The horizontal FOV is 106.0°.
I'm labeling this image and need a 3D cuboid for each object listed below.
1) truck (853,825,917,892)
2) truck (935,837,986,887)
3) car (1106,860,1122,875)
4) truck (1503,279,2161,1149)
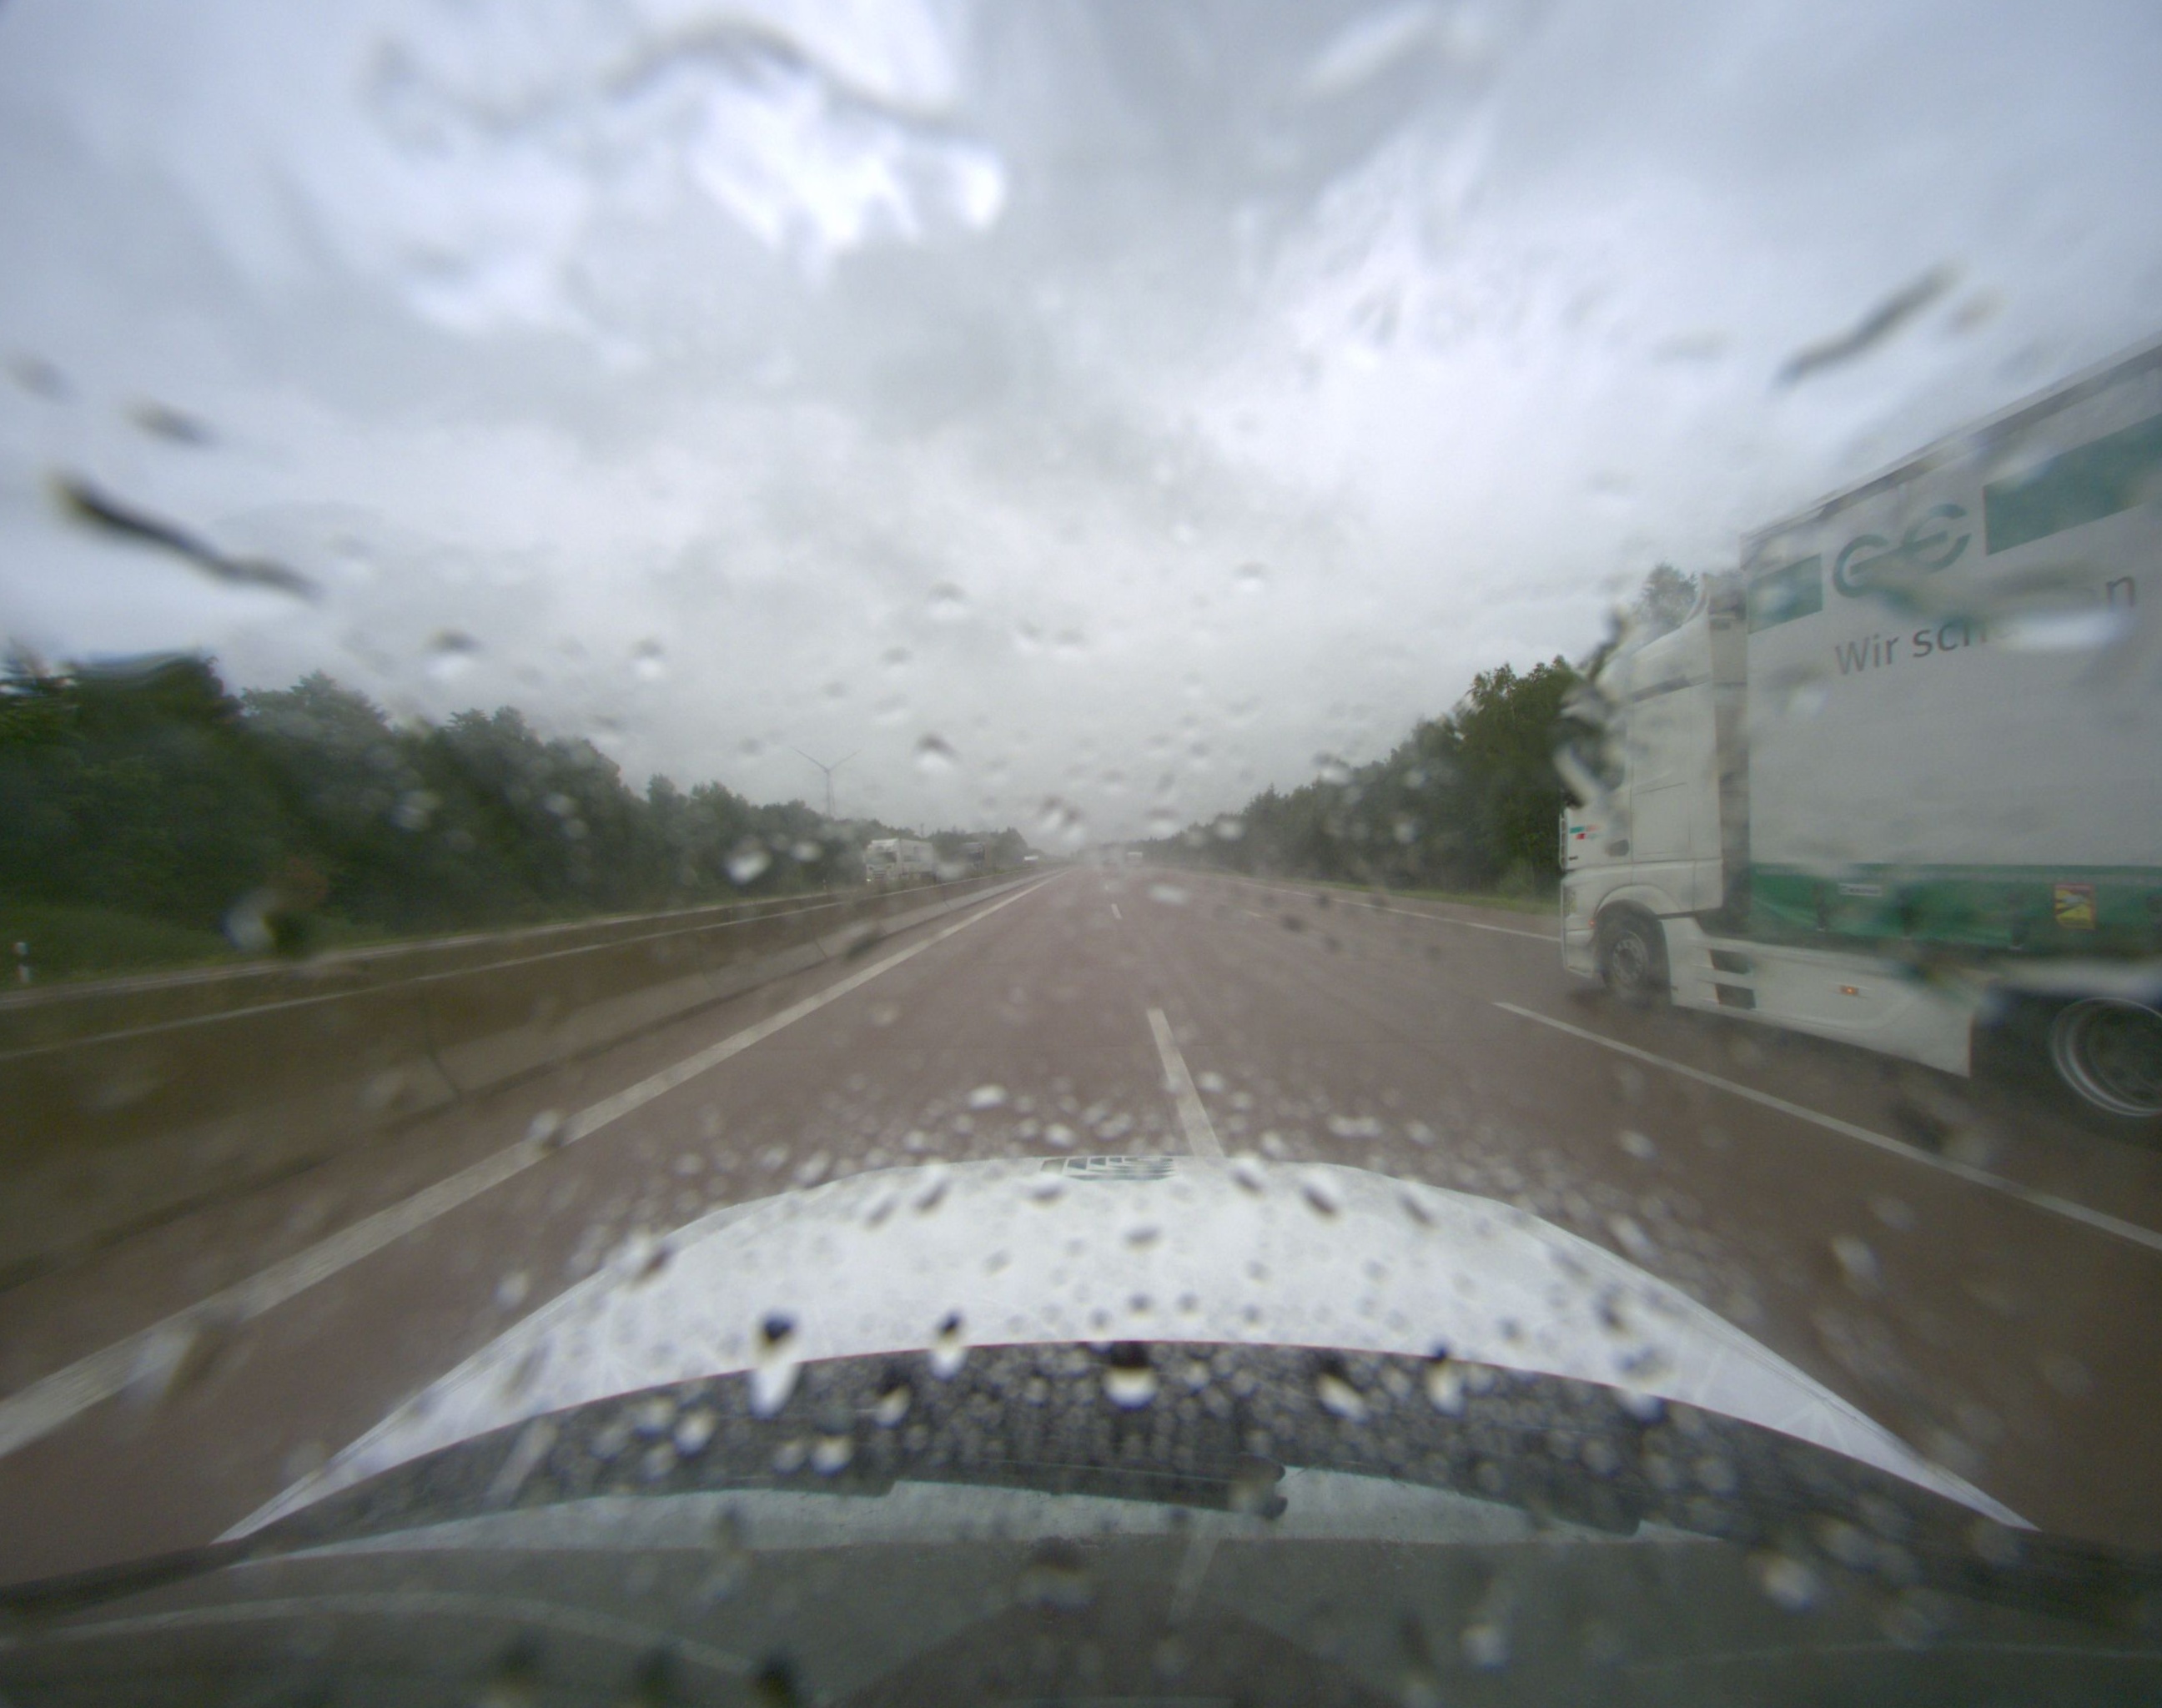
[{"bbox_3d":[-16.703,0.415,70.122,3.408,5.379,8.158,-1,-1,1],"label":"truck"},{"bbox_3d":[-12.594,0.816,86.163,3.912,5.015,8.952,-1,-1,1],"label":"truck"},{"bbox_3d":[4.587,1.810,113.441,2.165,1.981,4.131,2,0,1],"label":"car"},{"bbox_3d":[6.591,-0.697,6.831,2.871,4.106,6.350,-1,0,1],"label":"truck"}]
